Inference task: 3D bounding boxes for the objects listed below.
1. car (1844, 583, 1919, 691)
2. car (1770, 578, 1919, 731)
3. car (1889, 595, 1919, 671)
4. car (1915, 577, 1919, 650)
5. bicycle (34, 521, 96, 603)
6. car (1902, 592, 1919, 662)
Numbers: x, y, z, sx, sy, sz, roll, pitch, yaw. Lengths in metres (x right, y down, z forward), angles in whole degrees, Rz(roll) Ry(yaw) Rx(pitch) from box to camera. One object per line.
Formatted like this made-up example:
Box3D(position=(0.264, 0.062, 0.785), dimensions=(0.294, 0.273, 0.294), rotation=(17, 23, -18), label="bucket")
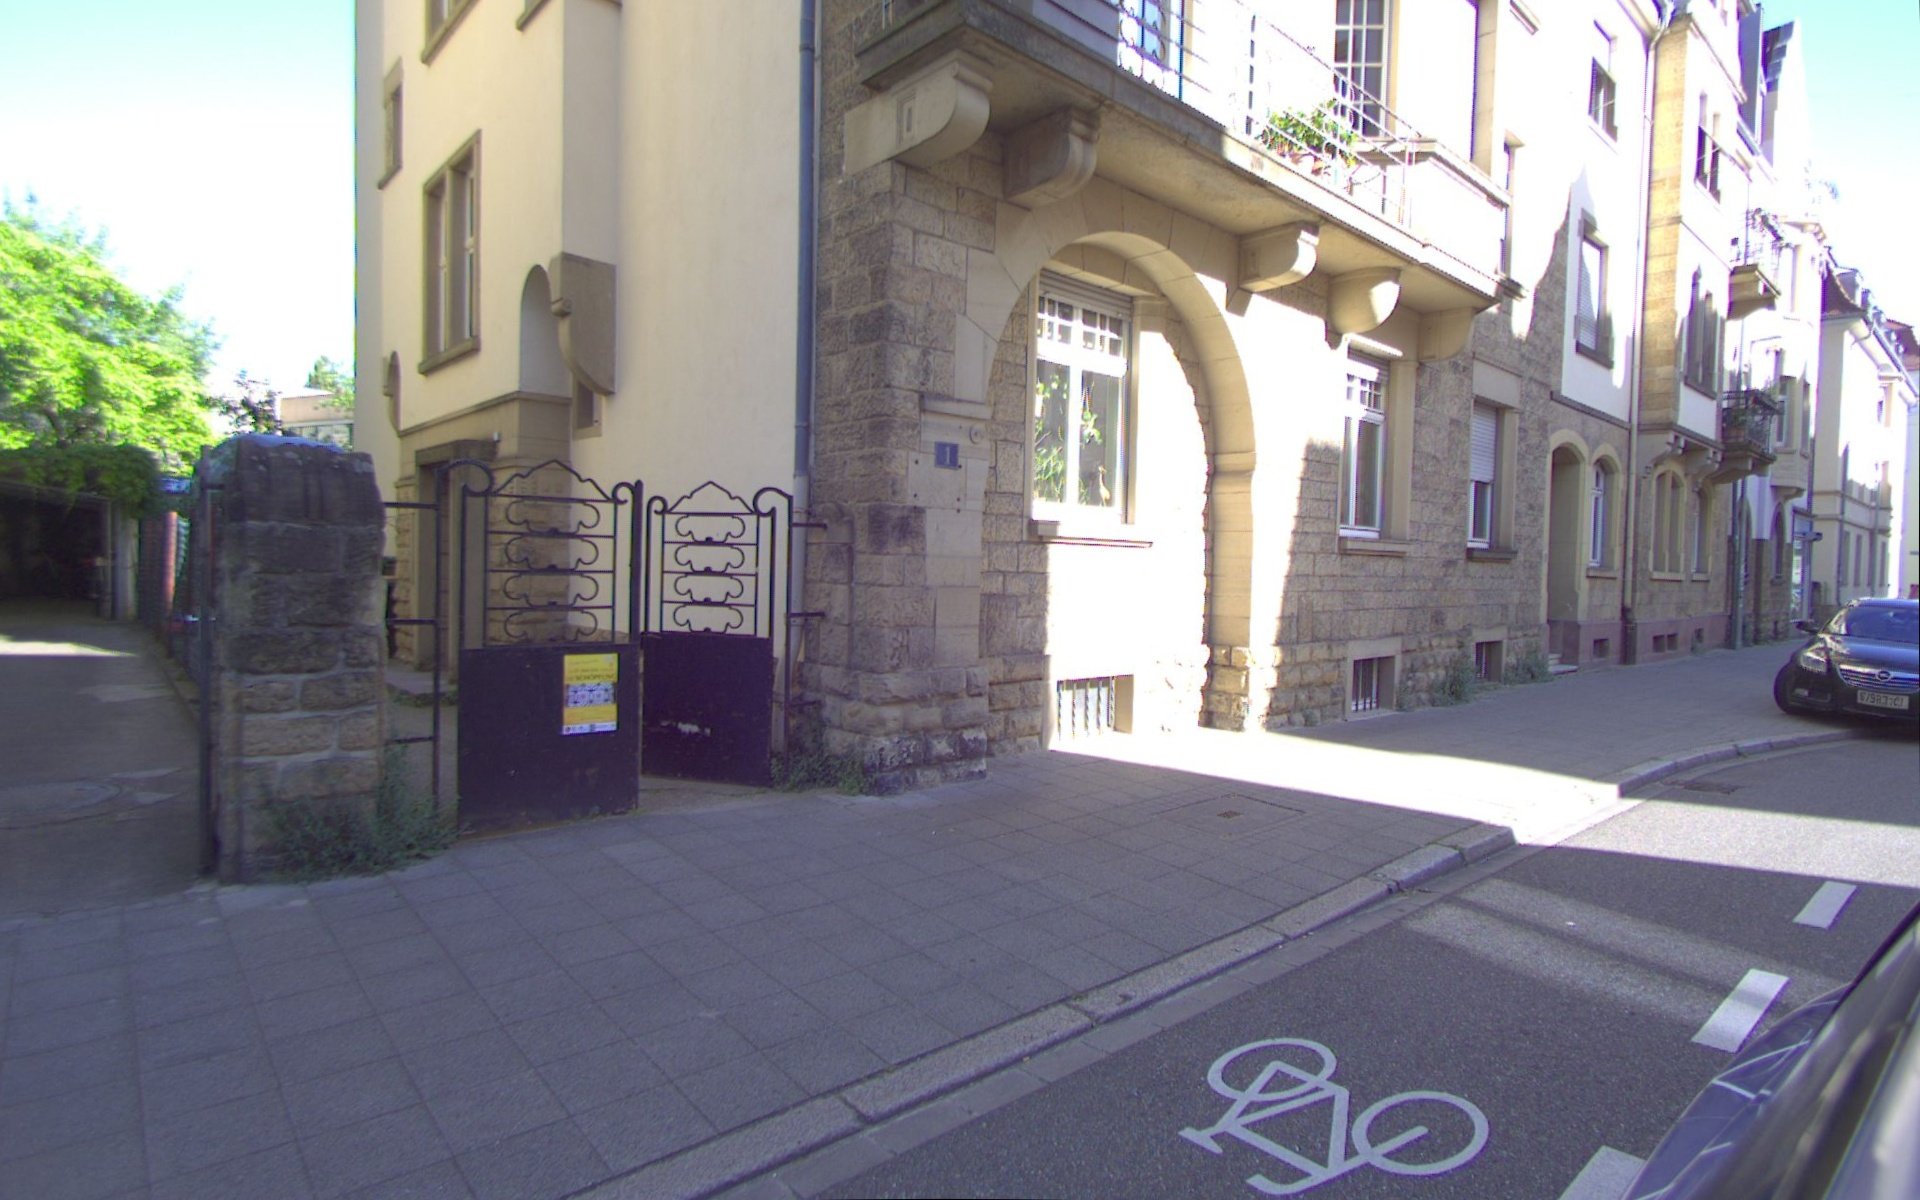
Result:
Box3D(position=(15.533, 0.571, 15.868), dimensions=(4.247, 1.527, 2.004), rotation=(0, 3, -42), label="car")
Box3D(position=(11.482, 0.574, 12.164), dimensions=(4.043, 1.526, 2.023), rotation=(-1, 5, -42), label="car")
Box3D(position=(18.797, 0.624, 18.972), dimensions=(3.667, 1.295, 1.659), rotation=(-1, 4, -42), label="car")
Box3D(position=(26.236, 0.342, 26.051), dimensions=(4.247, 1.860, 2.004), rotation=(-1, 4, -42), label="car")
Box3D(position=(-18.299, -0.809, 20.726), dimensions=(0.903, 1.530, 2.672), rotation=(0, 4, -41), label="bicycle")
Box3D(position=(22.173, 0.587, 22.194), dimensions=(4.247, 1.440, 1.823), rotation=(-1, 4, -42), label="car")
